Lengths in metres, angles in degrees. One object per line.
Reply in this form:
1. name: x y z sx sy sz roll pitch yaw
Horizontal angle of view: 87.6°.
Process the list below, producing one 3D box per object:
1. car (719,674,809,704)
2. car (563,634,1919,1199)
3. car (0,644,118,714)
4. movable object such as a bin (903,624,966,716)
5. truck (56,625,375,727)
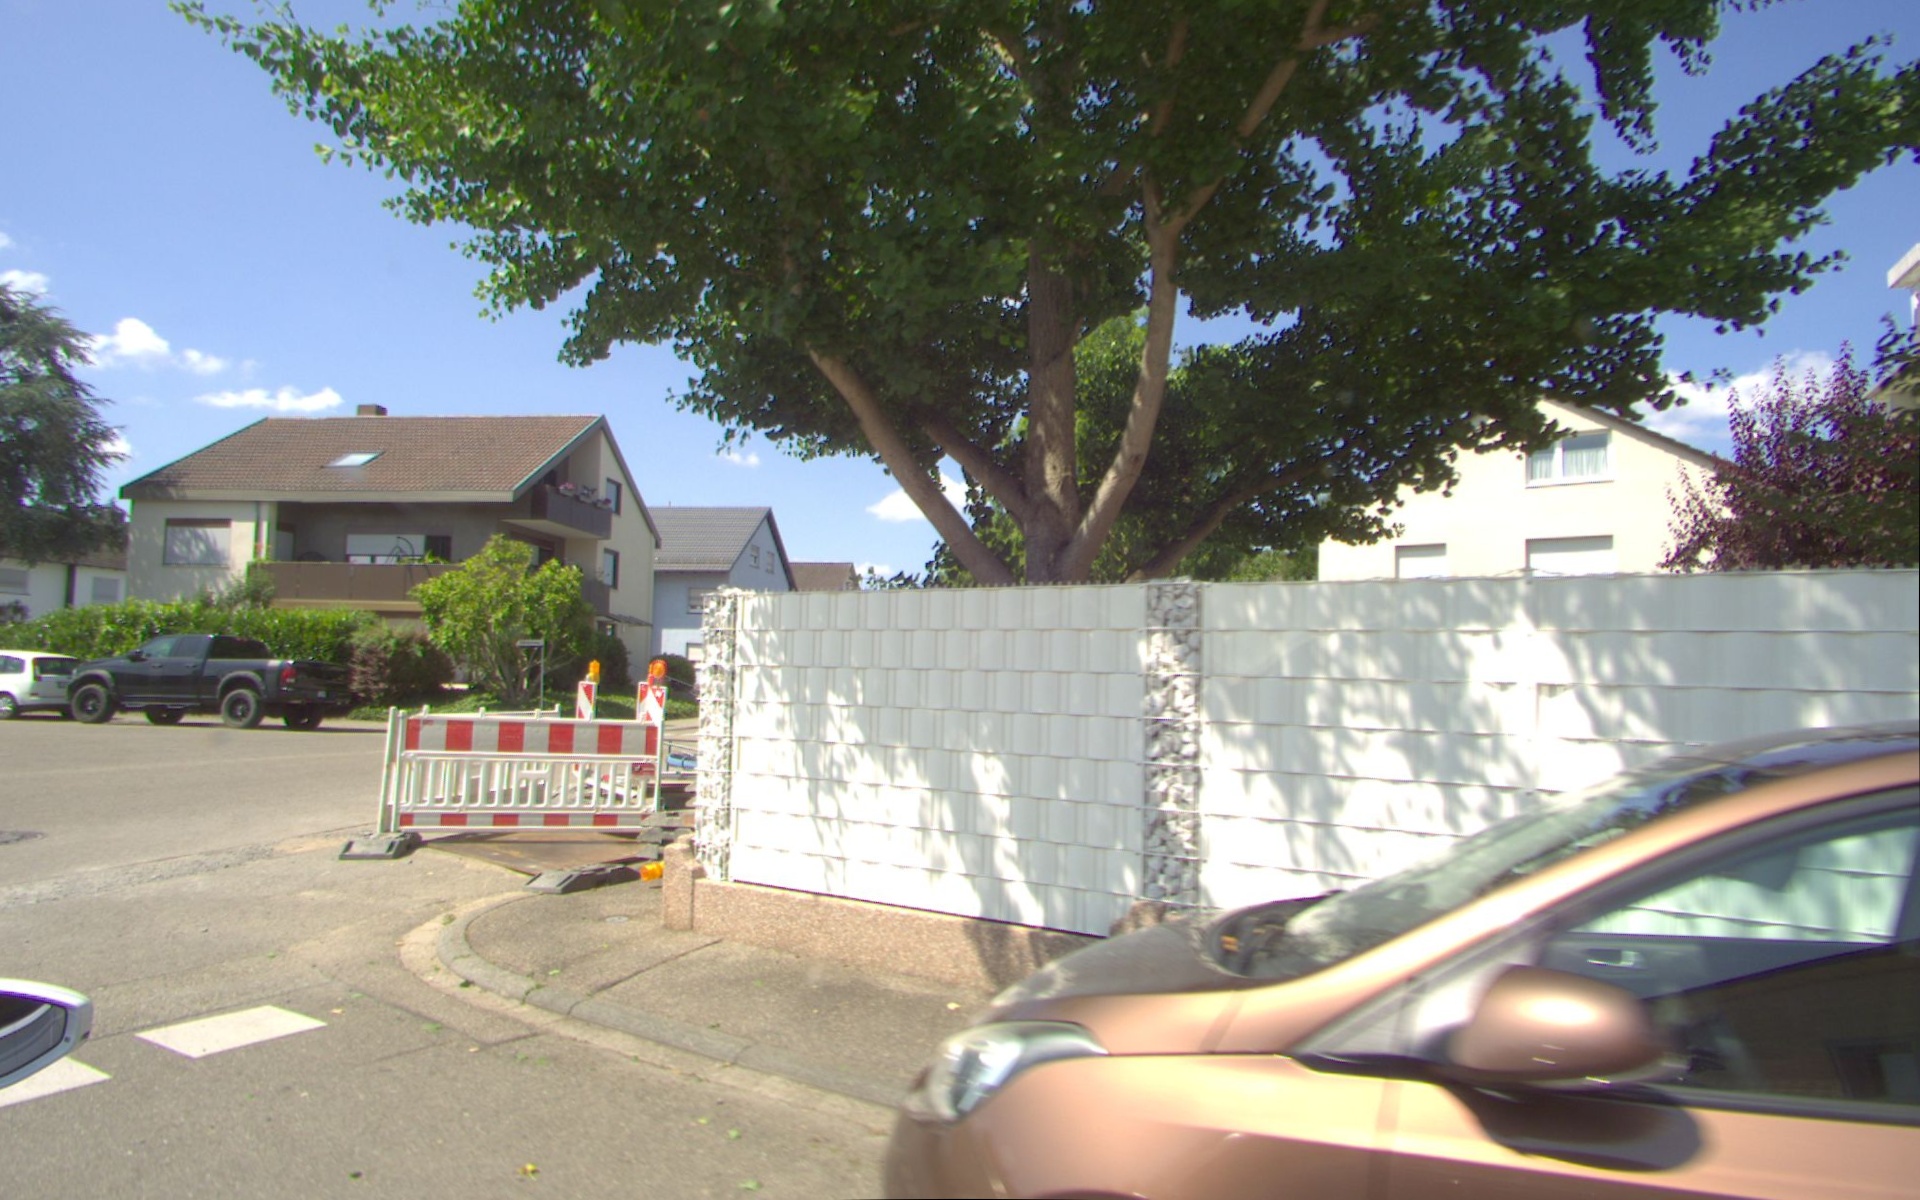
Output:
1. car: -9.769 4.444 50.084 3.922 1.358 2.002 1 -4 6
2. car: 1.345 0.940 1.917 3.973 1.549 1.715 -1 -8 28
3. car: -23.132 1.871 24.243 4.063 1.581 1.806 2 -4 5
4. movable object such as a bin: -1.009 2.952 41.856 1.961 3.608 3.819 1 -4 8
5. truck: -16.930 1.726 22.985 5.601 2.038 2.374 1 -4 5
